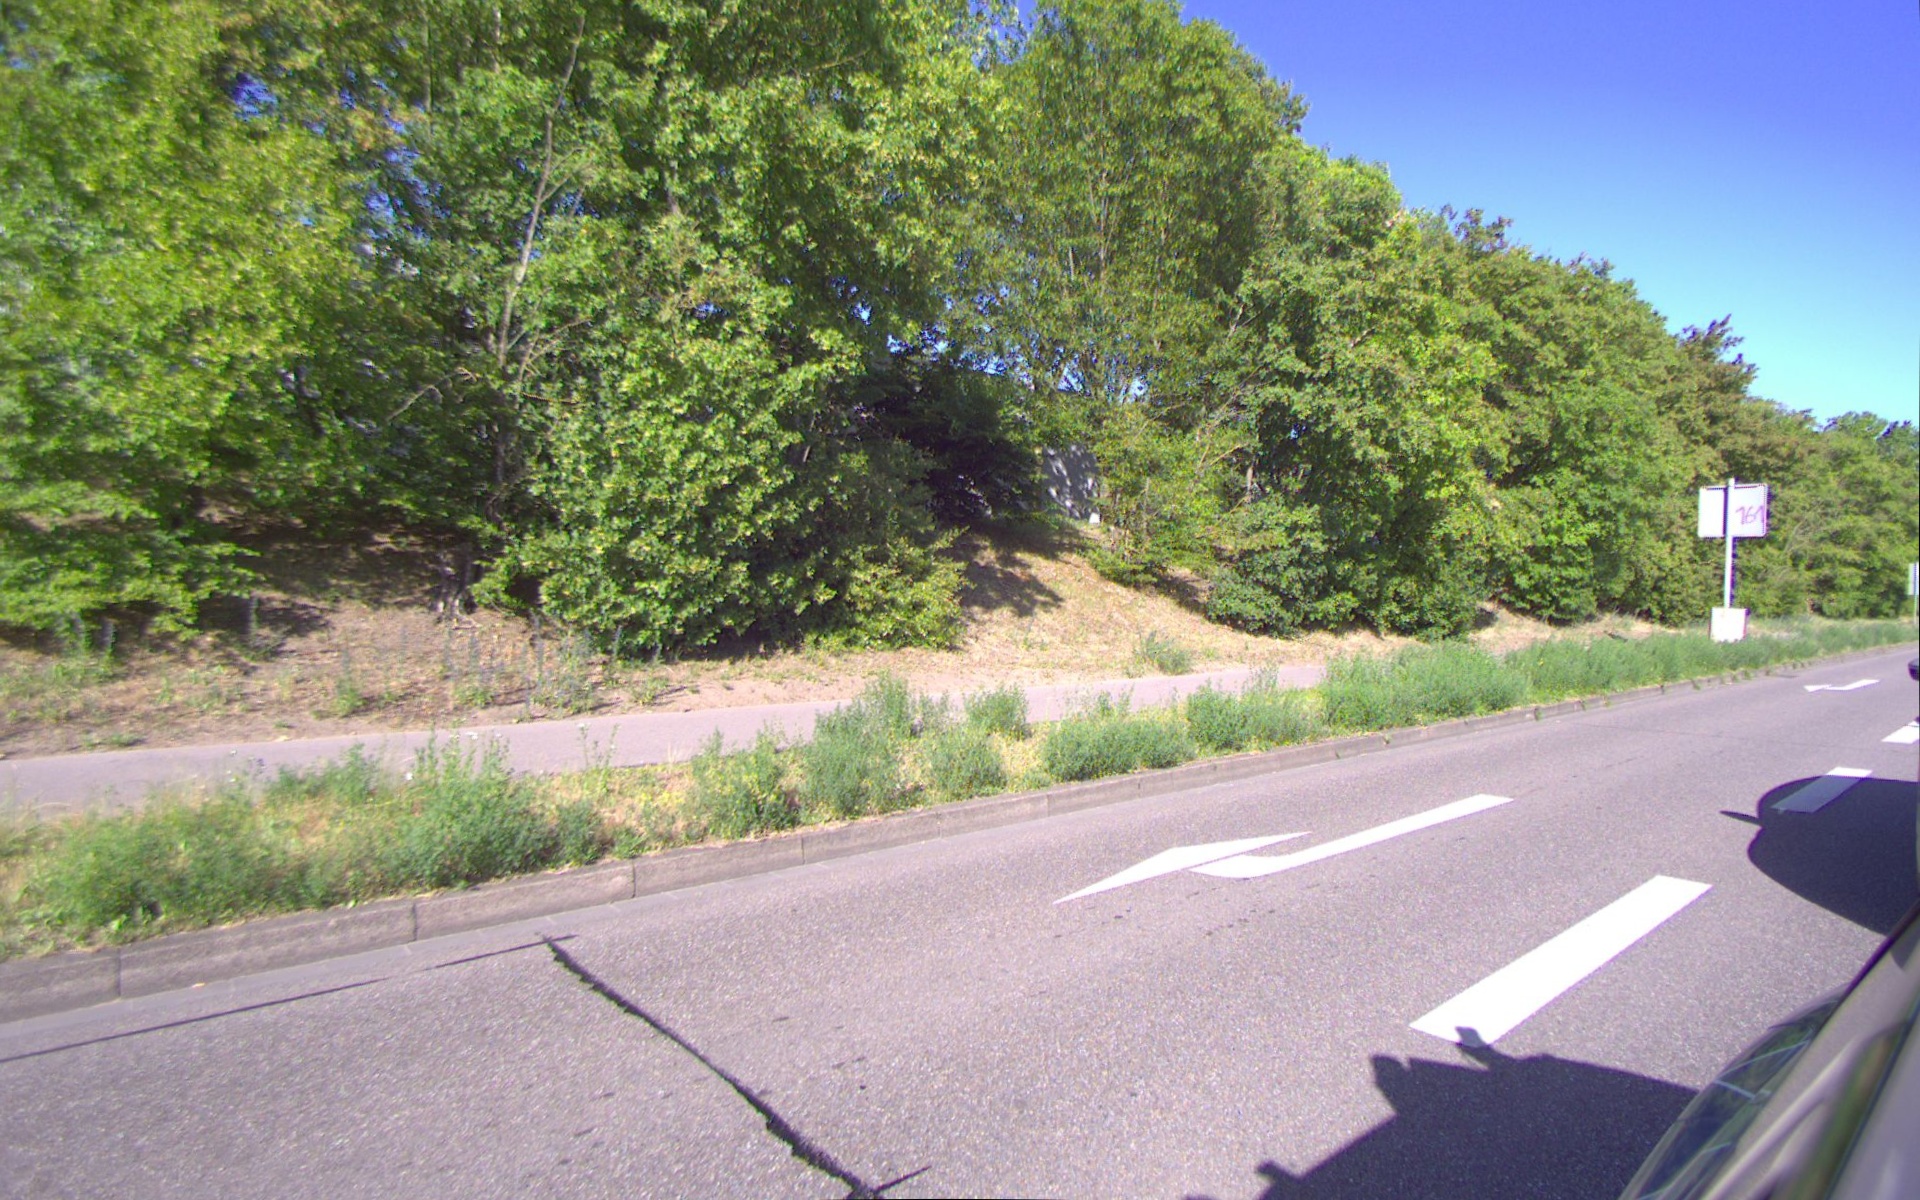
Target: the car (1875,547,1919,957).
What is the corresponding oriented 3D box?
[{"bbox_3d":[5.913,0.614,4.685,4.026,1.631,2.023,0,0,-41],"label":"car"}]
